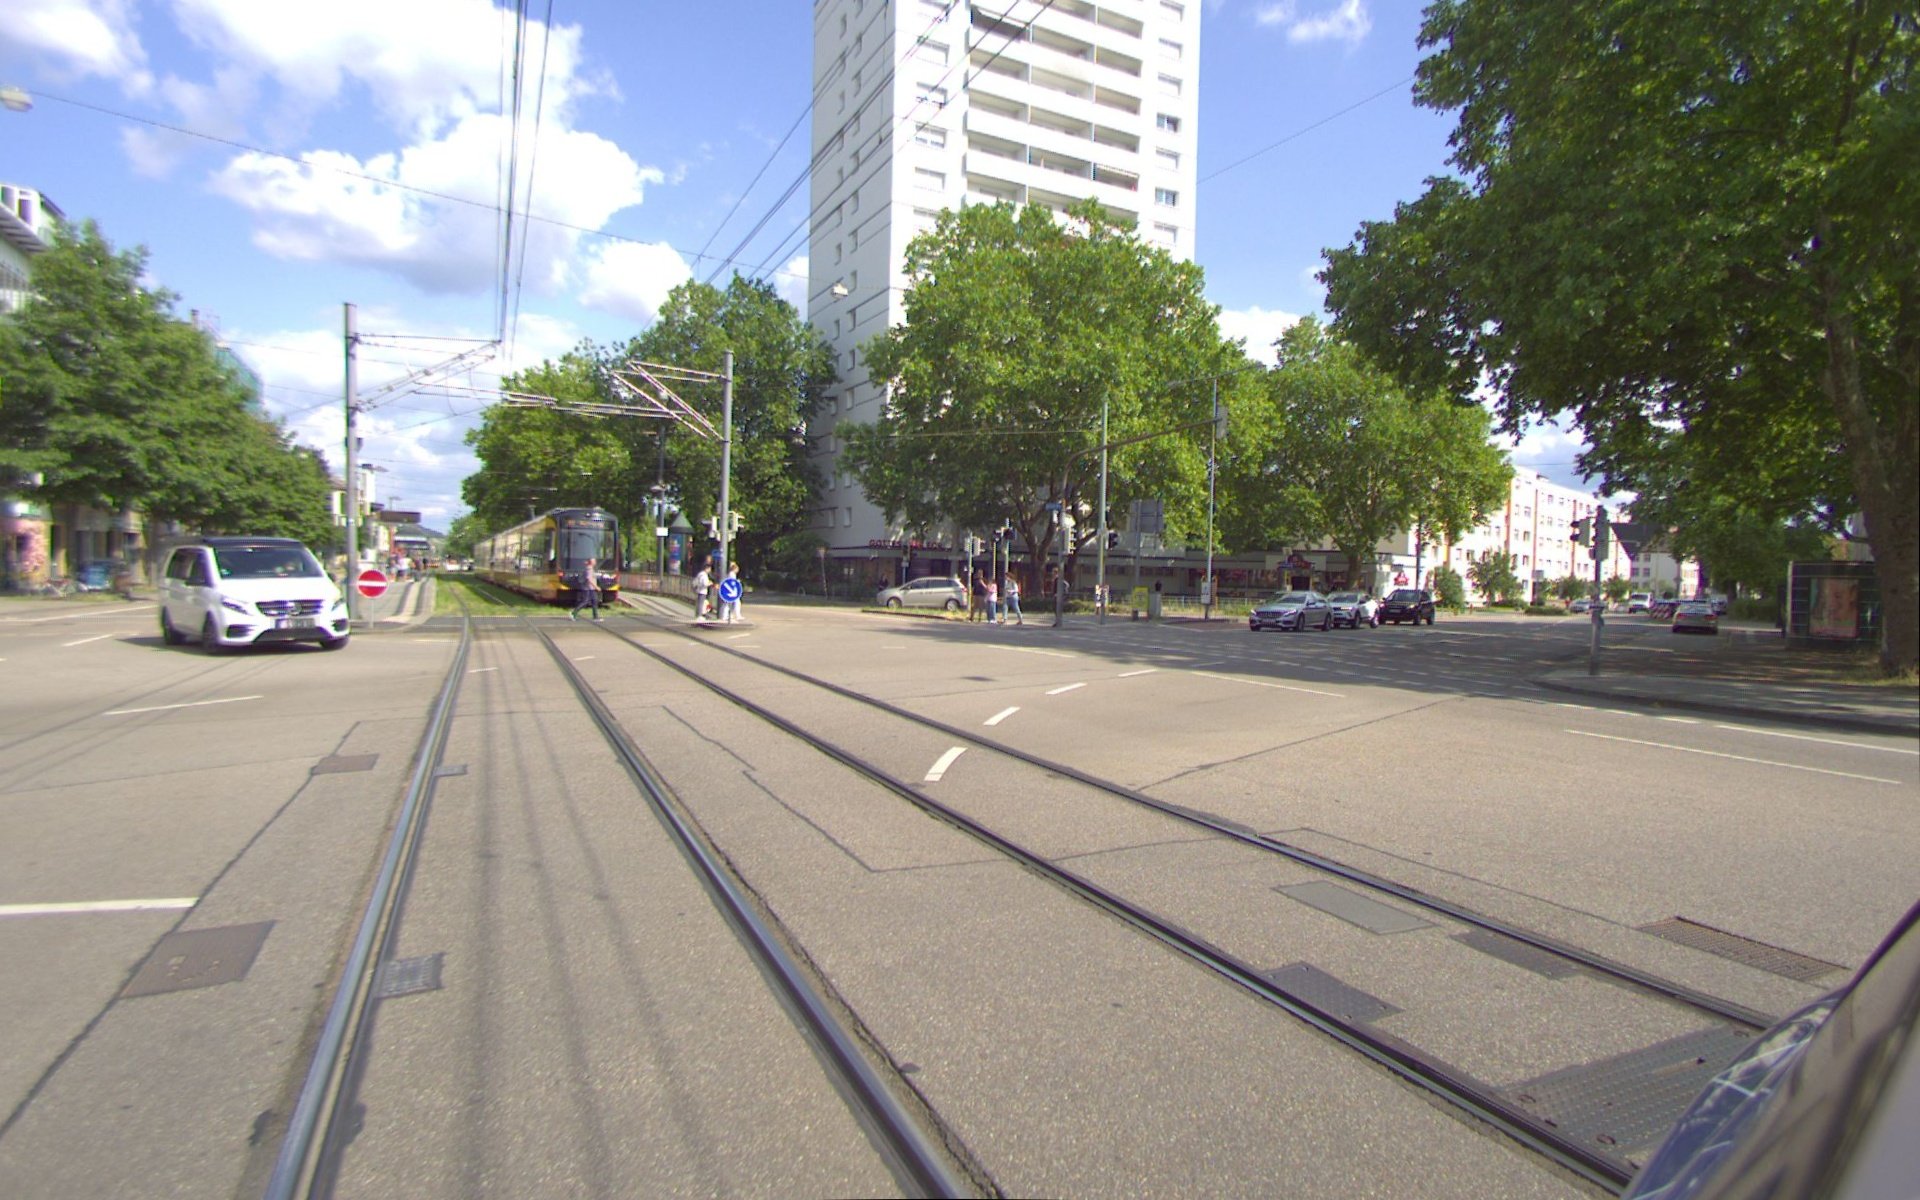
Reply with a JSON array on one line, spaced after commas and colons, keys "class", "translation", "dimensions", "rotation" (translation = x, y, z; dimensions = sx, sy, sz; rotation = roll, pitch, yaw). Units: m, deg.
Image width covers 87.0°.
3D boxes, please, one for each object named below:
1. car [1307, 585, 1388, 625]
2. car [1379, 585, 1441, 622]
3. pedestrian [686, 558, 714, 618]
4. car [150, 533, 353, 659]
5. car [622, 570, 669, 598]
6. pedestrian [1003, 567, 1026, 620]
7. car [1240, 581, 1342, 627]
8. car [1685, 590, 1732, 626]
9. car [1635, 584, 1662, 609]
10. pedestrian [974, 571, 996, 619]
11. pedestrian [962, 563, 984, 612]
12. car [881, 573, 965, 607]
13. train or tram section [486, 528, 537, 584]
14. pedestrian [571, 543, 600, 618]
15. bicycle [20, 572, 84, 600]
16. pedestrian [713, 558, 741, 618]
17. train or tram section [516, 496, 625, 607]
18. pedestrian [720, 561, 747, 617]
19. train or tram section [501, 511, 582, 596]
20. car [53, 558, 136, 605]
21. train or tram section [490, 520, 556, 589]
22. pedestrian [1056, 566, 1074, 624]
[{"class": "car", "translation": [15.746, 0.175, 41.045], "dimensions": [1.853, 1.508, 4.016], "rotation": [2, 2, 40]}, {"class": "car", "translation": [21.124, 0.113, 47.421], "dimensions": [1.683, 1.640, 3.943], "rotation": [2, 2, 39]}, {"class": "pedestrian", "translation": [-7.534, -0.355, 29.265], "dimensions": [0.657, 1.724, 0.649], "rotation": [0, 1, -25]}, {"class": "car", "translation": [-12.694, -0.130, 17.980], "dimensions": [5.154, 1.915, 1.969], "rotation": [2, 2, 43]}, {"class": "car", "translation": [-18.077, -0.939, 58.047], "dimensions": [1.702, 1.502, 3.676], "rotation": [0, 2, -32]}, {"class": "pedestrian", "translation": [1.814, -0.227, 33.824], "dimensions": [0.554, 1.757, 0.521], "rotation": [2, 1, 41]}, {"class": "car", "translation": [11.825, 0.123, 36.034], "dimensions": [3.935, 1.508, 1.856], "rotation": [0, 2, -45]}, {"class": "car", "translation": [36.004, 0.344, 48.640], "dimensions": [1.682, 1.520, 3.946], "rotation": [2, 3, 38]}, {"class": "car", "translation": [52.604, -0.284, 77.329], "dimensions": [1.572, 1.740, 3.953], "rotation": [2, 2, 33]}, {"class": "pedestrian", "translation": [0.876, -0.176, 34.948], "dimensions": [0.554, 1.617, 0.504], "rotation": [2, 1, 41]}, {"class": "pedestrian", "translation": [0.443, -0.448, 35.320], "dimensions": [0.554, 1.691, 0.504], "rotation": [2, 1, 41]}, {"class": "car", "translation": [-1.710, -0.491, 47.728], "dimensions": [3.779, 1.508, 1.860], "rotation": [1, 1, 3]}, {"class": "train or tram section", "translation": [-30.423, -2.941, 68.464], "dimensions": [2.719, 3.526, 8.922], "rotation": [0, 2, -27]}, {"class": "pedestrian", "translation": [-10.342, -0.545, 27.947], "dimensions": [0.725, 2.038, 0.705], "rotation": [1, 1, -22]}, {"class": "bicycle", "translation": [-32.835, -0.508, 36.633], "dimensions": [1.661, 0.998, 0.498], "rotation": [0, 1, -31]}, {"class": "pedestrian", "translation": [-6.812, -0.356, 29.603], "dimensions": [0.657, 1.724, 0.649], "rotation": [0, 1, -25]}, {"class": "train or tram section", "translation": [-15.105, -1.780, 38.634], "dimensions": [2.747, 3.605, 11.397], "rotation": [0, 2, -27]}, {"class": "pedestrian", "translation": [-7.043, -0.359, 31.478], "dimensions": [0.657, 1.724, 0.649], "rotation": [0, 1, -25]}, {"class": "train or tram section", "translation": [-20.297, -2.190, 48.681], "dimensions": [2.757, 3.605, 11.201], "rotation": [0, 2, -27]}, {"class": "car", "translation": [-36.736, -0.814, 43.043], "dimensions": [1.815, 1.812, 4.006], "rotation": [3, 0, -29]}, {"class": "train or tram section", "translation": [-25.639, -2.617, 59.032], "dimensions": [2.757, 3.605, 12.178], "rotation": [0, 2, -27]}, {"class": "pedestrian", "translation": [3.427, -0.171, 32.866], "dimensions": [0.475, 1.848, 0.554], "rotation": [1, 1, 15]}]
